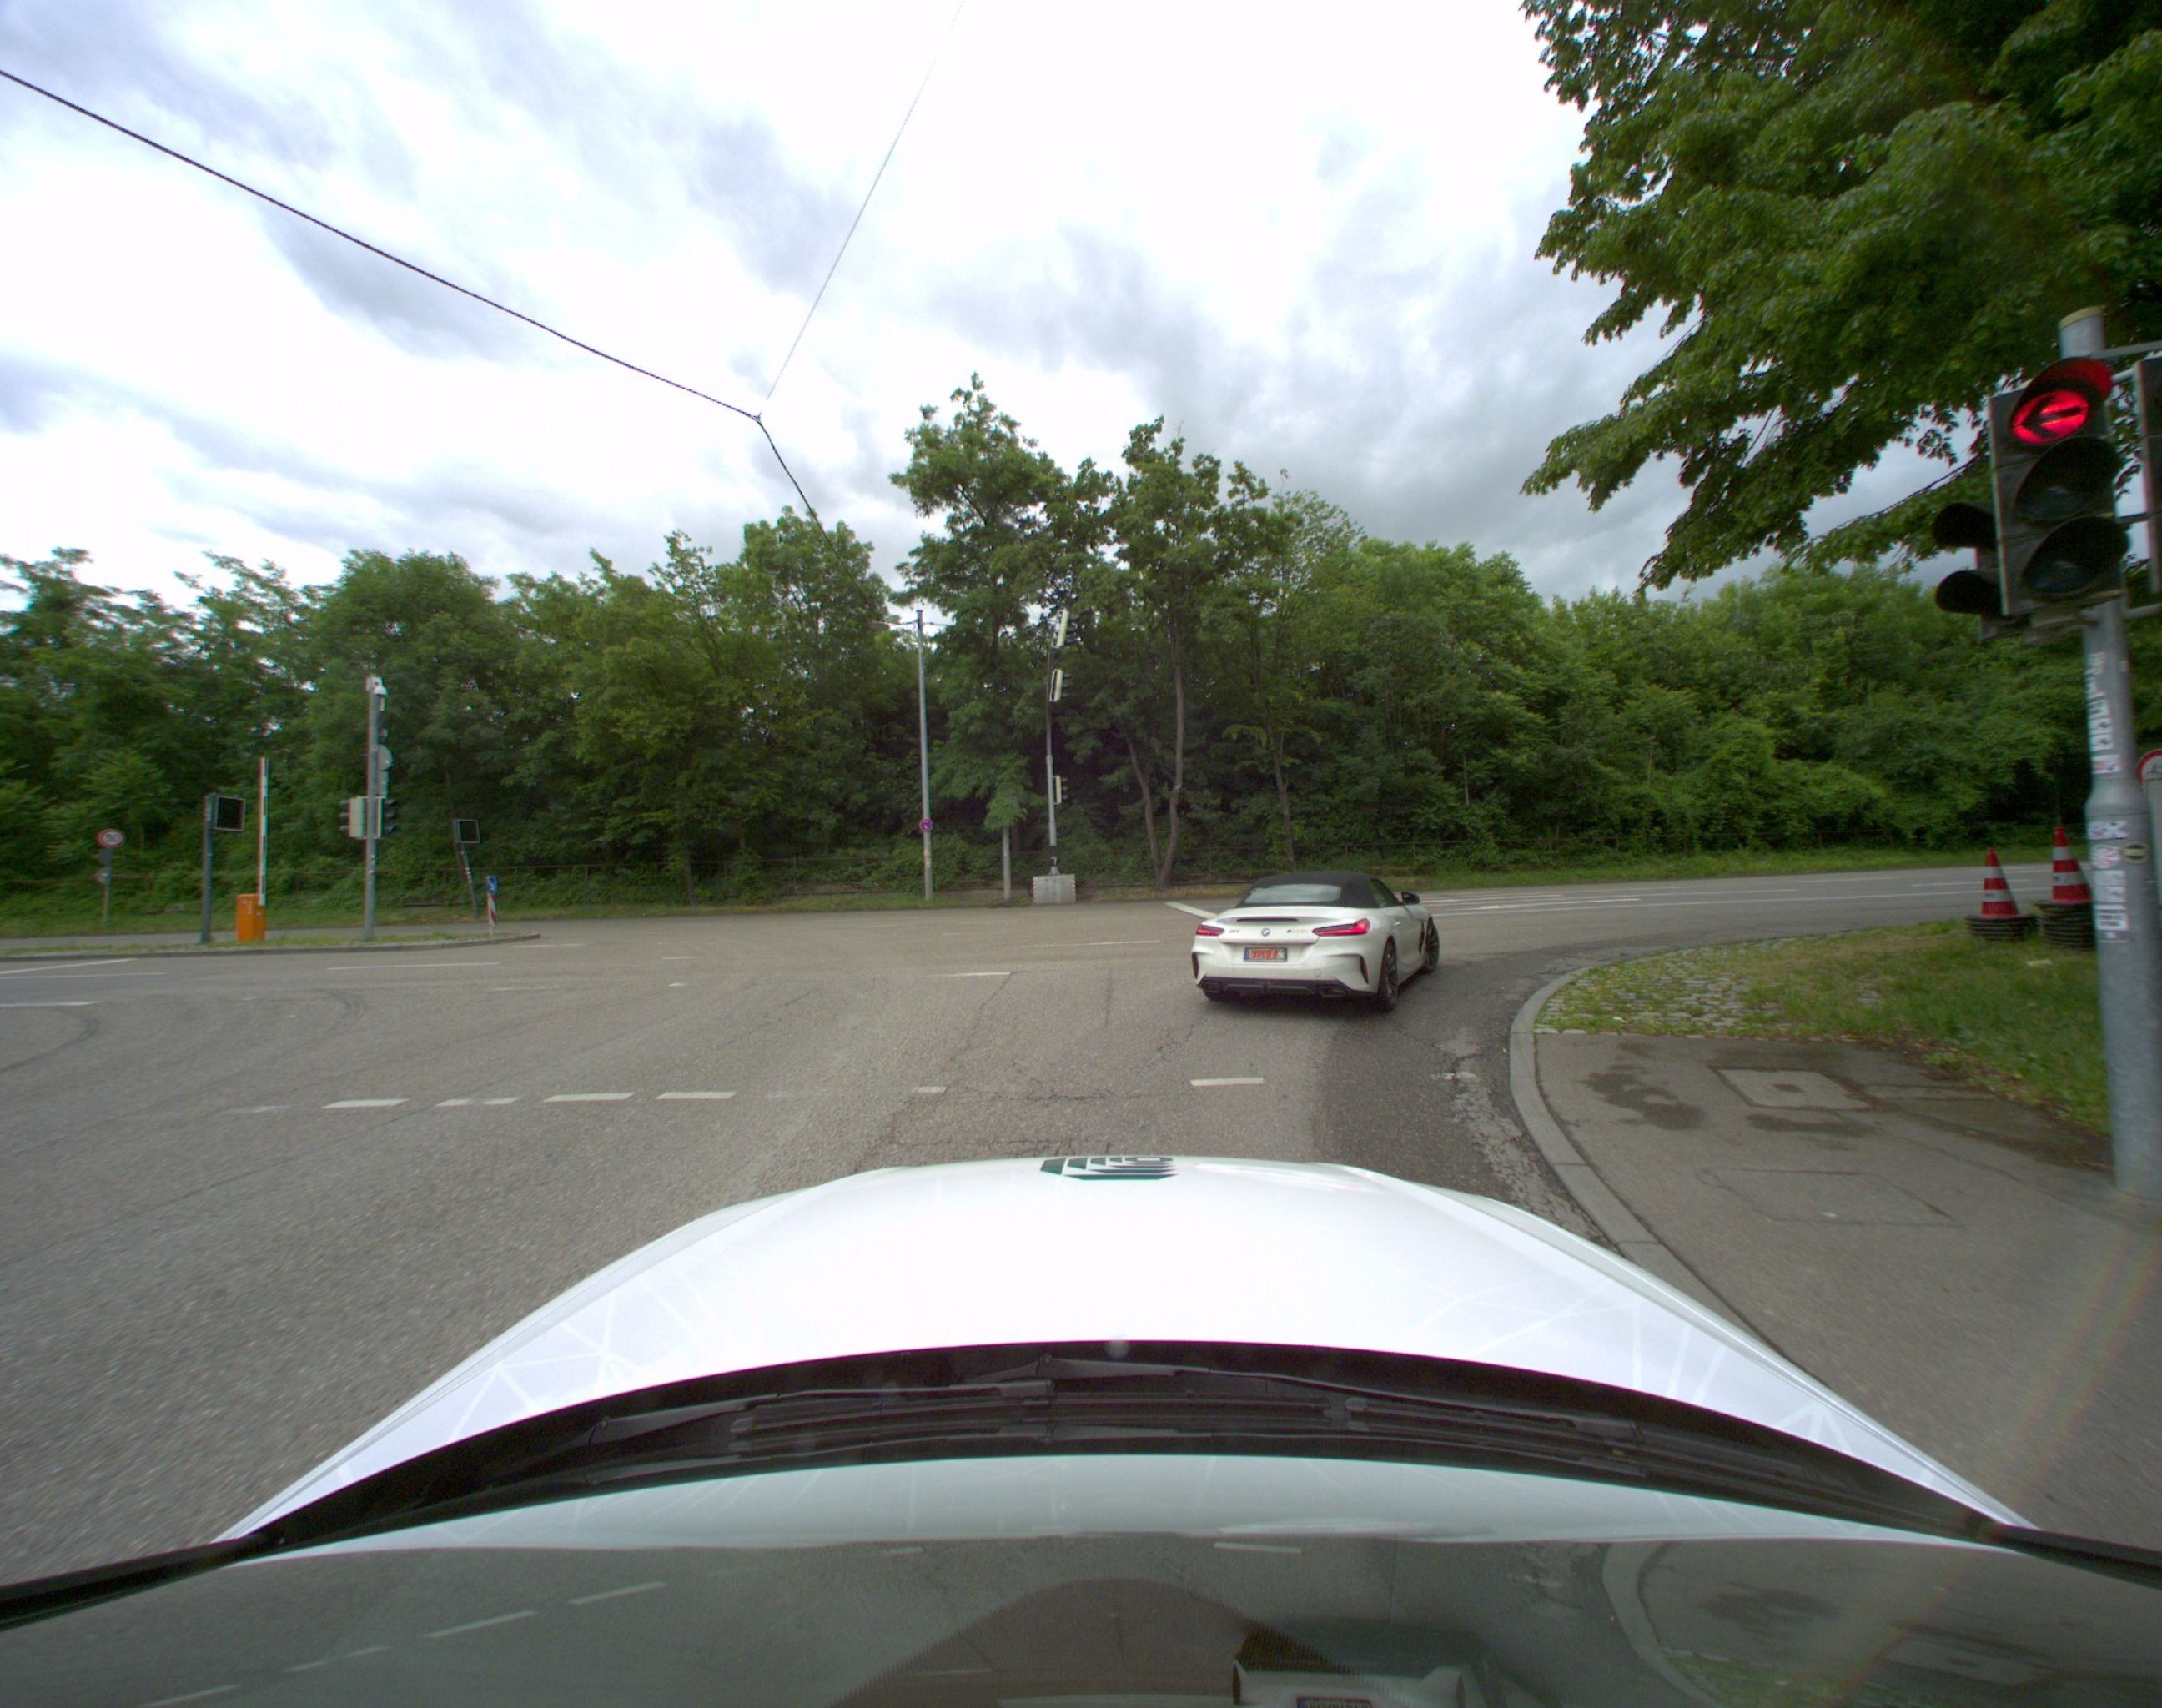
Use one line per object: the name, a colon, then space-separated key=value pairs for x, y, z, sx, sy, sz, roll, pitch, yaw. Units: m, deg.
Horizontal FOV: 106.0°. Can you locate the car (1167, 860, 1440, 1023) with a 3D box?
car: x=2.638 y=0.782 z=8.923 sx=1.857 sy=1.309 sz=3.897 roll=-3 pitch=-1 yaw=31
